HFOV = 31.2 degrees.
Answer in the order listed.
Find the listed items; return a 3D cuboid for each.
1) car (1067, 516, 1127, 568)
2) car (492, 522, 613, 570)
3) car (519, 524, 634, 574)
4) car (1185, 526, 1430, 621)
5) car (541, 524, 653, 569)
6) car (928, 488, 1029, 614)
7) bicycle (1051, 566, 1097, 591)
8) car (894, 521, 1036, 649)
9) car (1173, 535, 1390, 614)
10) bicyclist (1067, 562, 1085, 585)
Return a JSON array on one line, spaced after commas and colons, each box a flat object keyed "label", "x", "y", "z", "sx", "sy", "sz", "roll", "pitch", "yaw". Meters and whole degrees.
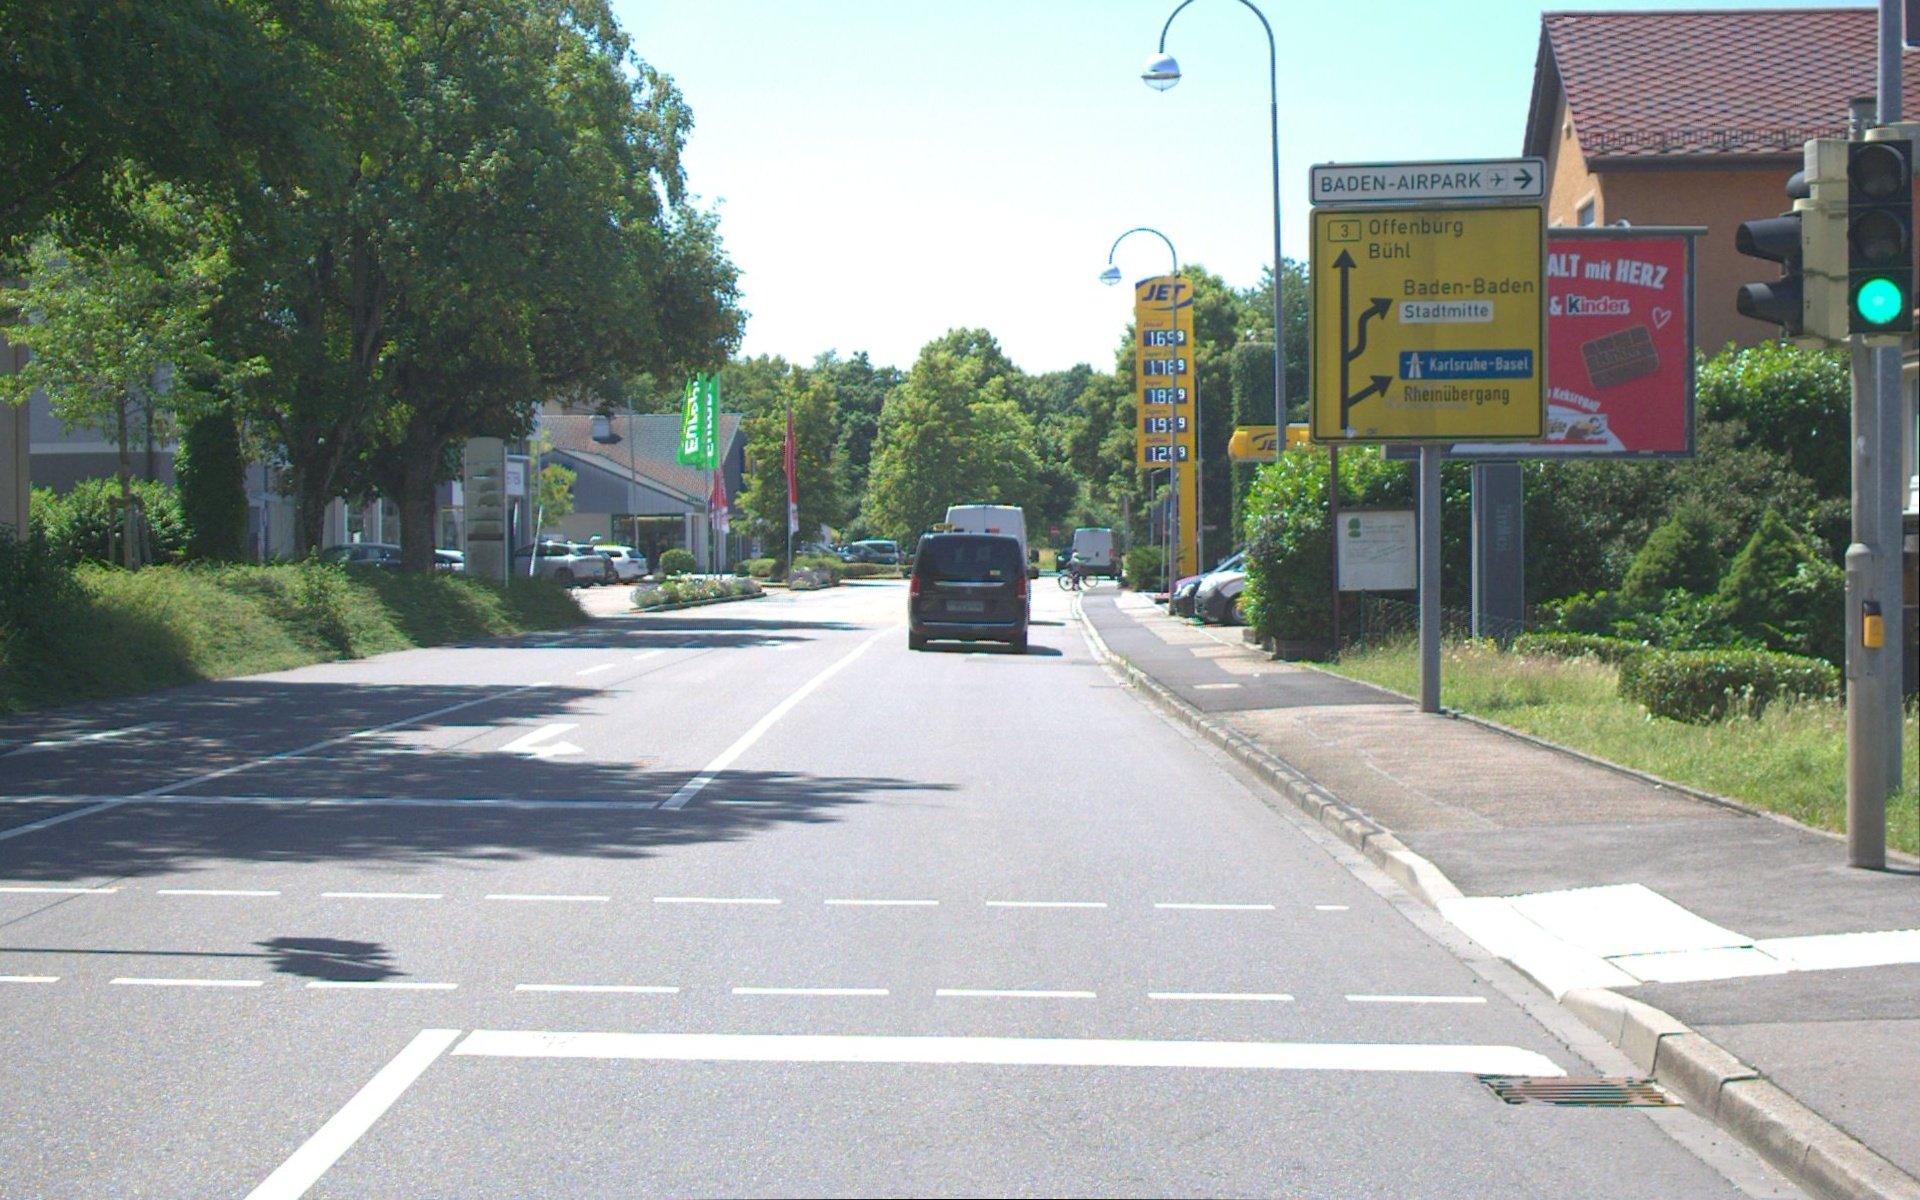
[{"label": "car", "x": 6.990, "y": -2.969, "z": 174.414, "sx": 2.353, "sy": 2.538, "sz": 4.954, "roll": 1, "pitch": 2, "yaw": 10}, {"label": "car", "x": -15.257, "y": -2.042, "z": 128.676, "sx": 4.045, "sy": 1.700, "sz": 1.901, "roll": 2, "pitch": 2, "yaw": 18}, {"label": "car", "x": -14.838, "y": -2.001, "z": 133.152, "sx": 3.989, "sy": 1.826, "sz": 1.945, "roll": 2, "pitch": 2, "yaw": 12}, {"label": "car", "x": 6.891, "y": -0.549, "z": 68.524, "sx": 4.556, "sy": 1.711, "sz": 2.000, "roll": -2, "pitch": 2, "yaw": -3}, {"label": "car", "x": -14.407, "y": -2.125, "z": 136.505, "sx": 3.989, "sy": 1.656, "sz": 1.999, "roll": 2, "pitch": 2, "yaw": 10}, {"label": "car", "x": 0.416, "y": -1.138, "z": 76.814, "sx": 2.120, "sy": 2.668, "sz": 5.662, "roll": 1, "pitch": 2, "yaw": 0}, {"label": "bicycle", "x": 4.359, "y": -0.813, "z": 131.950, "sx": 1.715, "sy": 0.884, "sz": 0.558, "roll": -2, "pitch": 4, "yaw": -29}, {"label": "car", "x": 0.036, "y": -0.278, "z": 54.708, "sx": 1.993, "sy": 1.886, "sz": 4.001, "roll": 1, "pitch": 2, "yaw": -3}, {"label": "car", "x": 6.586, "y": -0.532, "z": 70.646, "sx": 4.156, "sy": 1.452, "sz": 1.907, "roll": -2, "pitch": 2, "yaw": -4}, {"label": "bicyclist", "x": 4.435, "y": -1.010, "z": 131.983, "sx": 0.468, "sy": 0.850, "sz": 0.558, "roll": -2, "pitch": 4, "yaw": -29}]
